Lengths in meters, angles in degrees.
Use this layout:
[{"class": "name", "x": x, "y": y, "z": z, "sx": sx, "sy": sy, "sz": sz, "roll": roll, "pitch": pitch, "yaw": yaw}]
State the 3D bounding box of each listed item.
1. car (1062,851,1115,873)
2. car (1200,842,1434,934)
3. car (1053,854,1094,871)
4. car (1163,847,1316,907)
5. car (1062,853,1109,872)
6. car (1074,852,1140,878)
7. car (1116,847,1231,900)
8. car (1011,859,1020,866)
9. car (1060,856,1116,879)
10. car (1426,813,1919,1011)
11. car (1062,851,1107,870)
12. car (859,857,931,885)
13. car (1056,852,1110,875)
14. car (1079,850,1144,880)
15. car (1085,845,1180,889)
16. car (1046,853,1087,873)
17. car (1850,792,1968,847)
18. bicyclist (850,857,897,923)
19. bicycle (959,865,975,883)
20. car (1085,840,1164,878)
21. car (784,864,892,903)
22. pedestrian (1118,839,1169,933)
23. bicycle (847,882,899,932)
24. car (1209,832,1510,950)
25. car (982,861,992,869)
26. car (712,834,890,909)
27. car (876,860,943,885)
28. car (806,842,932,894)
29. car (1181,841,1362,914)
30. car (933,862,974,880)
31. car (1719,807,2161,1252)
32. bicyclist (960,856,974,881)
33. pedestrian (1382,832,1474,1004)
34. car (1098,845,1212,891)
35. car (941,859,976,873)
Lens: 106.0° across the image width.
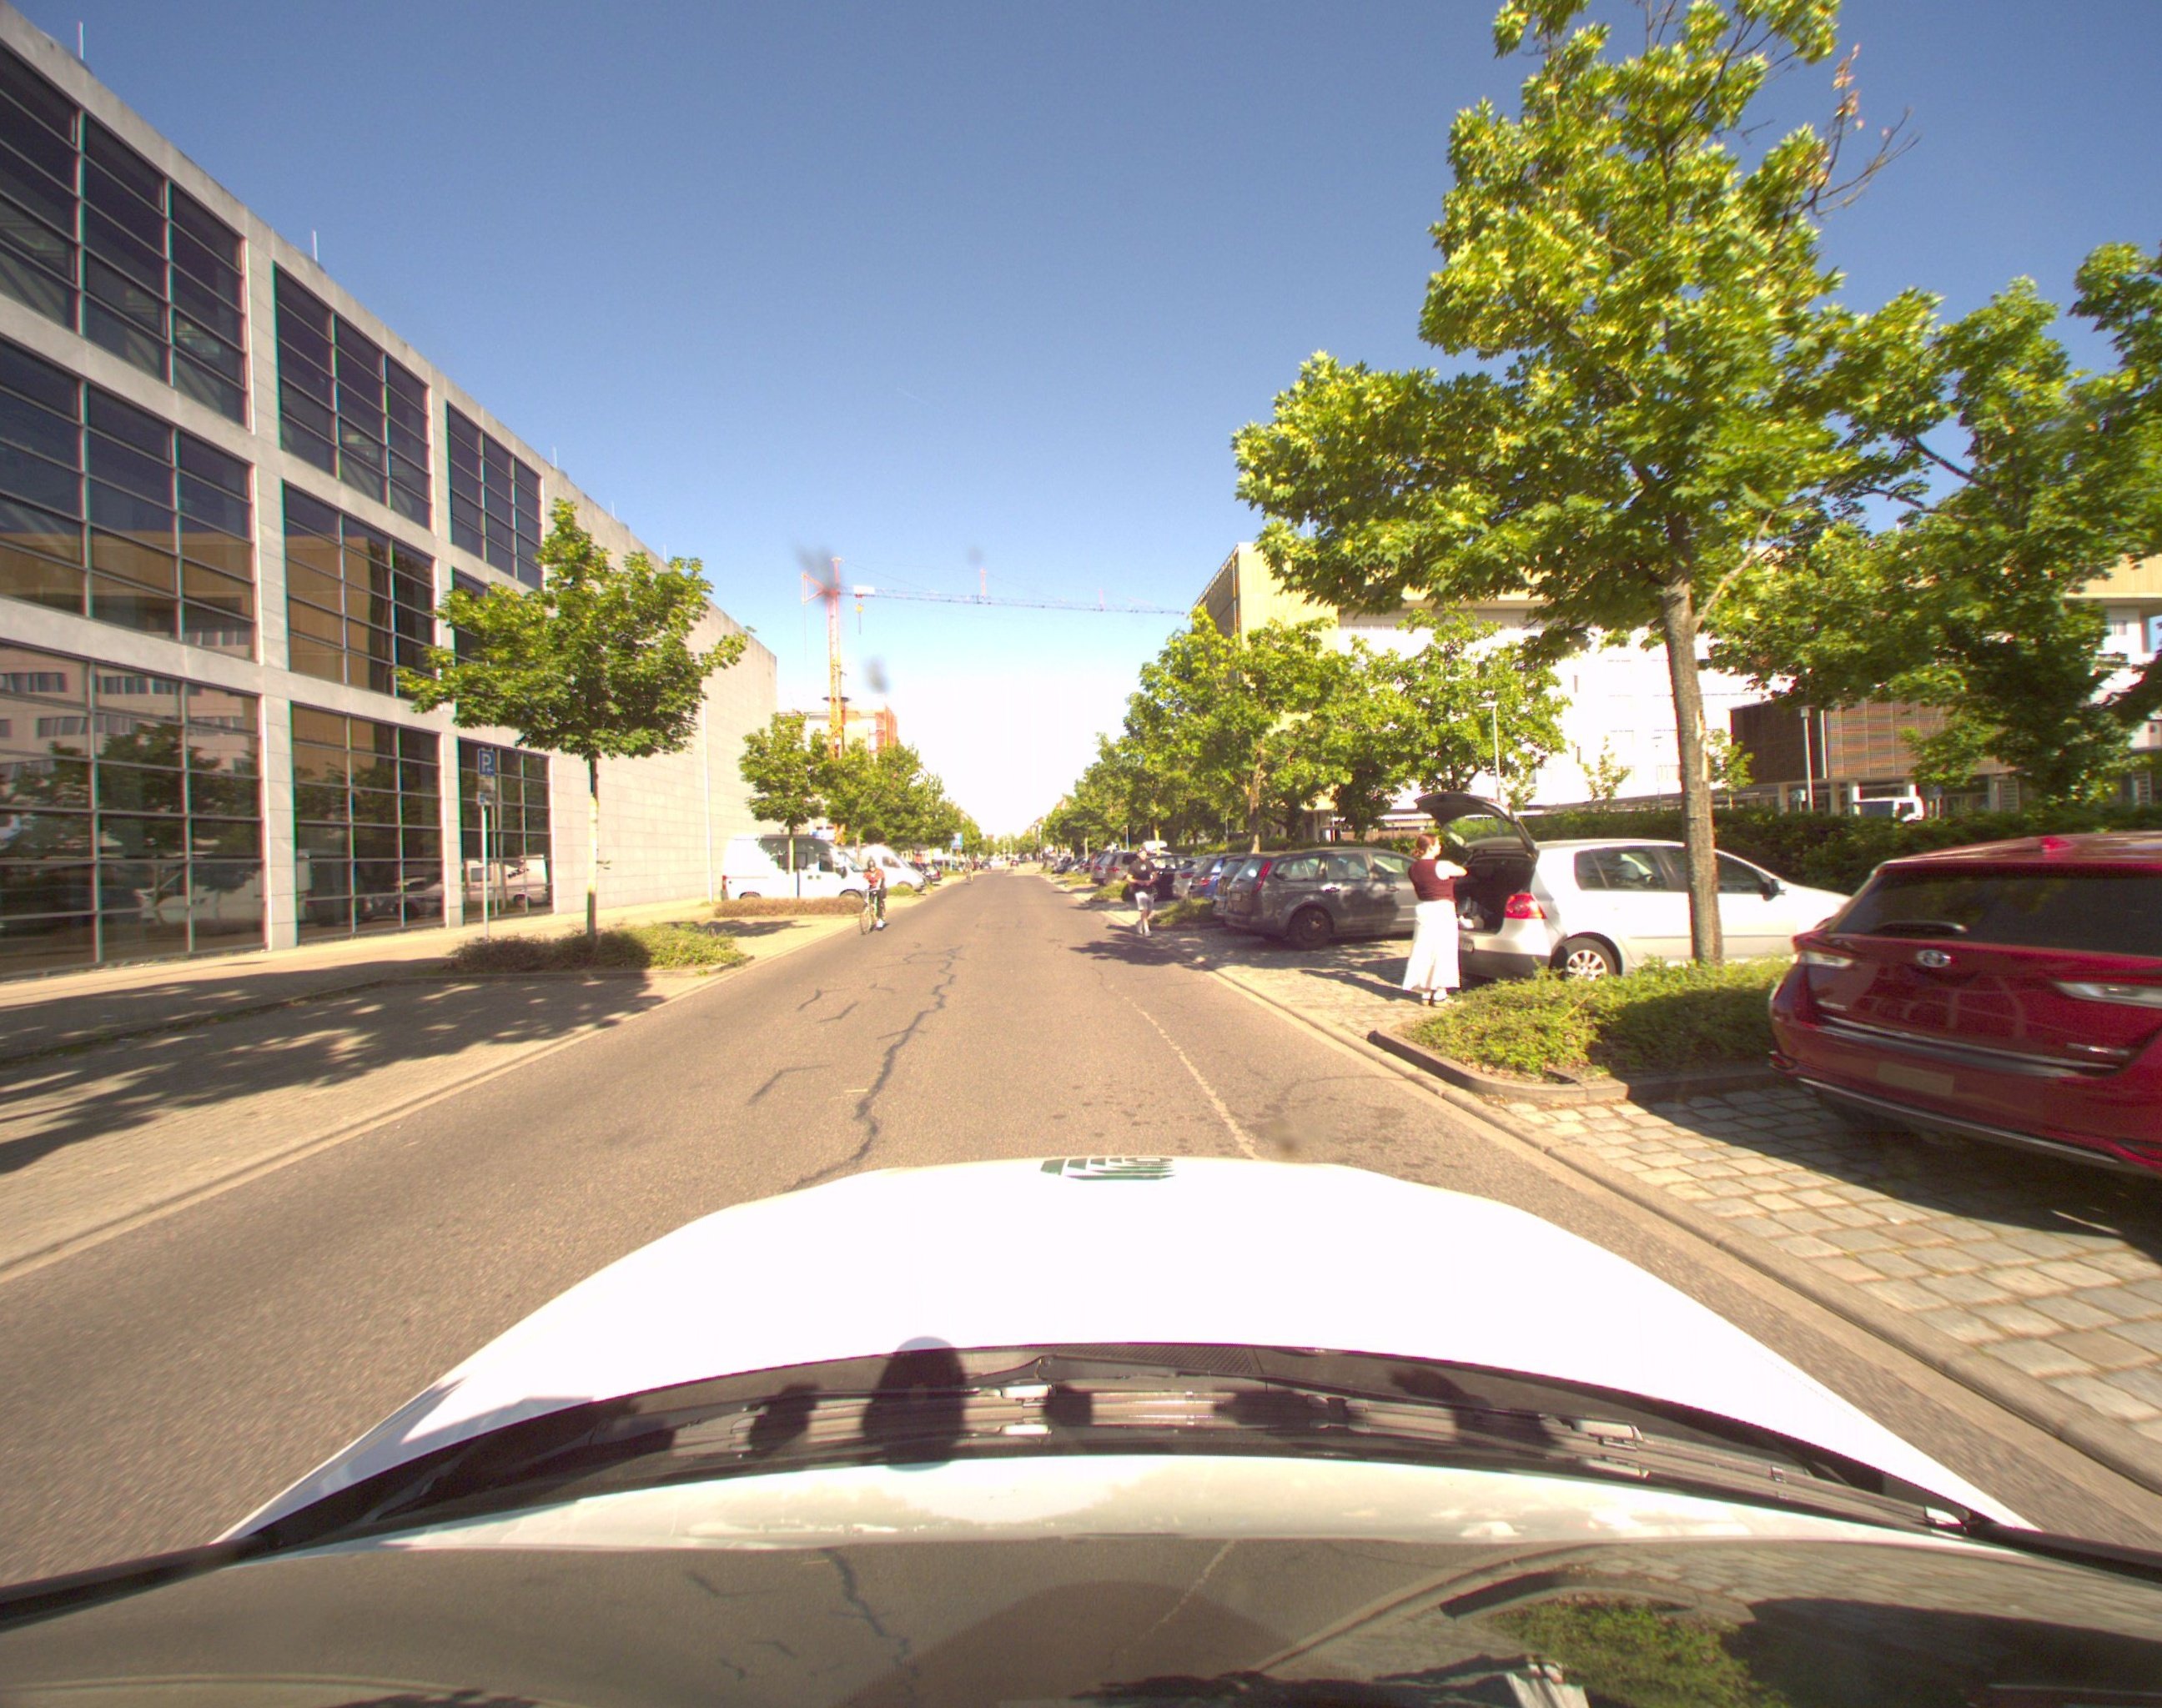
[{"class": "car", "x": 0.548, "y": 0.571, "z": 62.776, "sx": 3.859, "sy": 1.504, "sz": 1.648, "roll": -2, "pitch": 0, "yaw": -8}, {"class": "car", "x": 4.388, "y": 0.580, "z": 15.408, "sx": 3.896, "sy": 1.468, "sz": 1.617, "roll": -2, "pitch": 1, "yaw": -7}, {"class": "car", "x": -0.751, "y": 0.826, "z": 79.105, "sx": 3.760, "sy": 1.459, "sz": 1.814, "roll": -2, "pitch": -1, "yaw": -6}, {"class": "car", "x": 4.277, "y": 0.598, "z": 22.349, "sx": 3.725, "sy": 1.416, "sz": 1.840, "roll": -3, "pitch": 0, "yaw": -4}, {"class": "car", "x": 0.409, "y": 0.736, "z": 71.953, "sx": 3.980, "sy": 1.538, "sz": 1.858, "roll": -2, "pitch": -1, "yaw": -5}, {"class": "car", "x": 1.675, "y": 0.732, "z": 52.918, "sx": 4.054, "sy": 1.425, "sz": 1.739, "roll": -3, "pitch": -1, "yaw": -4}, {"class": "car", "x": 3.023, "y": 0.635, "z": 27.054, "sx": 3.450, "sy": 1.489, "sz": 1.742, "roll": -3, "pitch": -1, "yaw": -7}, {"class": "car", "x": -14.706, "y": 1.946, "z": 182.400, "sx": 1.808, "sy": 1.474, "sz": 4.105, "roll": -2, "pitch": 1, "yaw": -4}, {"class": "car", "x": 0.505, "y": 0.981, "z": 60.062, "sx": 3.896, "sy": 1.486, "sz": 1.739, "roll": -2, "pitch": 0, "yaw": -6}, {"class": "car", "x": 5.740, "y": 0.477, "z": 8.142, "sx": 3.896, "sy": 1.577, "sz": 1.676, "roll": -2, "pitch": 1, "yaw": -7}, {"class": "car", "x": 0.311, "y": 0.598, "z": 74.553, "sx": 3.980, "sy": 1.582, "sz": 2.028, "roll": -2, "pitch": -1, "yaw": -5}, {"class": "car", "x": -11.249, "y": 1.015, "z": 49.386, "sx": 3.977, "sy": 1.664, "sz": 1.826, "roll": 0, "pitch": 0, "yaw": -2}, {"class": "car", "x": 0.147, "y": 0.745, "z": 65.022, "sx": 4.139, "sy": 1.580, "sz": 1.737, "roll": -3, "pitch": 0, "yaw": -7}, {"class": "car", "x": 1.799, "y": 0.625, "z": 48.411, "sx": 3.603, "sy": 1.549, "sz": 1.703, "roll": -2, "pitch": 1, "yaw": -7}, {"class": "car", "x": 2.250, "y": 0.540, "z": 36.105, "sx": 3.896, "sy": 1.695, "sz": 1.936, "roll": -2, "pitch": 1, "yaw": -7}, {"class": "car", "x": -1.518, "y": 0.911, "z": 82.965, "sx": 3.980, "sy": 1.879, "sz": 1.680, "roll": -2, "pitch": 0, "yaw": -5}, {"class": "car", "x": 41.062, "y": -1.672, "z": 40.435, "sx": 3.626, "sy": 2.491, "sz": 2.230, "roll": -3, "pitch": 0, "yaw": -3}, {"class": "bicyclist", "x": -4.809, "y": 0.820, "z": 18.947, "sx": 0.756, "sy": 1.431, "sz": 1.130, "roll": -4, "pitch": 0, "yaw": -3}, {"class": "bicycle", "x": -7.476, "y": 1.295, "z": 53.622, "sx": 0.696, "sy": 1.111, "sz": 2.079, "roll": -3, "pitch": 0, "yaw": 0}, {"class": "car", "x": 2.427, "y": 0.257, "z": 45.914, "sx": 4.115, "sy": 1.927, "sz": 1.974, "roll": -2, "pitch": 1, "yaw": -7}, {"class": "car", "x": -9.679, "y": 1.150, "z": 32.694, "sx": 3.822, "sy": 1.472, "sz": 1.846, "roll": 0, "pitch": 0, "yaw": -3}, {"class": "pedestrian", "x": 1.234, "y": 0.623, "z": 16.286, "sx": 0.718, "sy": 1.771, "sz": 1.166, "roll": -4, "pitch": 0, "yaw": -6}, {"class": "bicycle", "x": -4.798, "y": 1.208, "z": 18.914, "sx": 0.755, "sy": 1.002, "sz": 1.869, "roll": -4, "pitch": 0, "yaw": -3}, {"class": "car", "x": 4.350, "y": 0.540, "z": 13.024, "sx": 4.182, "sy": 1.519, "sz": 1.732, "roll": -3, "pitch": 0, "yaw": -7}, {"class": "car", "x": -17.864, "y": 2.063, "z": 155.545, "sx": 1.809, "sy": 1.474, "sz": 4.102, "roll": -2, "pitch": 1, "yaw": -6}, {"class": "car", "x": -9.278, "y": 0.558, "z": 27.385, "sx": 5.238, "sy": 2.418, "sz": 2.120, "roll": 0, "pitch": 0, "yaw": -4}, {"class": "car", "x": -11.239, "y": 1.201, "z": 53.626, "sx": 4.128, "sy": 1.492, "sz": 1.864, "roll": 0, "pitch": 1, "yaw": -8}, {"class": "car", "x": -10.138, "y": 0.642, "z": 39.206, "sx": 5.539, "sy": 2.410, "sz": 1.985, "roll": -1, "pitch": 0, "yaw": -4}, {"class": "car", "x": 4.547, "y": 0.540, "z": 19.804, "sx": 3.887, "sy": 1.497, "sz": 1.840, "roll": -3, "pitch": 0, "yaw": -4}, {"class": "car", "x": -13.729, "y": 1.806, "z": 87.834, "sx": 4.256, "sy": 1.665, "sz": 1.596, "roll": -2, "pitch": 1, "yaw": -6}, {"class": "car", "x": 5.296, "y": 0.495, "z": 3.553, "sx": 3.896, "sy": 1.426, "sz": 1.668, "roll": -2, "pitch": -1, "yaw": -7}, {"class": "bicyclist", "x": -7.497, "y": 0.928, "z": 53.677, "sx": 0.681, "sy": 1.581, "sz": 1.061, "roll": -3, "pitch": 0, "yaw": 0}, {"class": "pedestrian", "x": 3.389, "y": 0.593, "z": 7.973, "sx": 0.757, "sy": 1.579, "sz": 0.678, "roll": -1, "pitch": 1, "yaw": 23}, {"class": "car", "x": 3.020, "y": 0.556, "z": 33.617, "sx": 4.319, "sy": 1.608, "sz": 1.906, "roll": -3, "pitch": 0, "yaw": -9}, {"class": "car", "x": -15.464, "y": 1.529, "z": 102.822, "sx": 4.329, "sy": 1.474, "sz": 1.812, "roll": -2, "pitch": 1, "yaw": -9}]
